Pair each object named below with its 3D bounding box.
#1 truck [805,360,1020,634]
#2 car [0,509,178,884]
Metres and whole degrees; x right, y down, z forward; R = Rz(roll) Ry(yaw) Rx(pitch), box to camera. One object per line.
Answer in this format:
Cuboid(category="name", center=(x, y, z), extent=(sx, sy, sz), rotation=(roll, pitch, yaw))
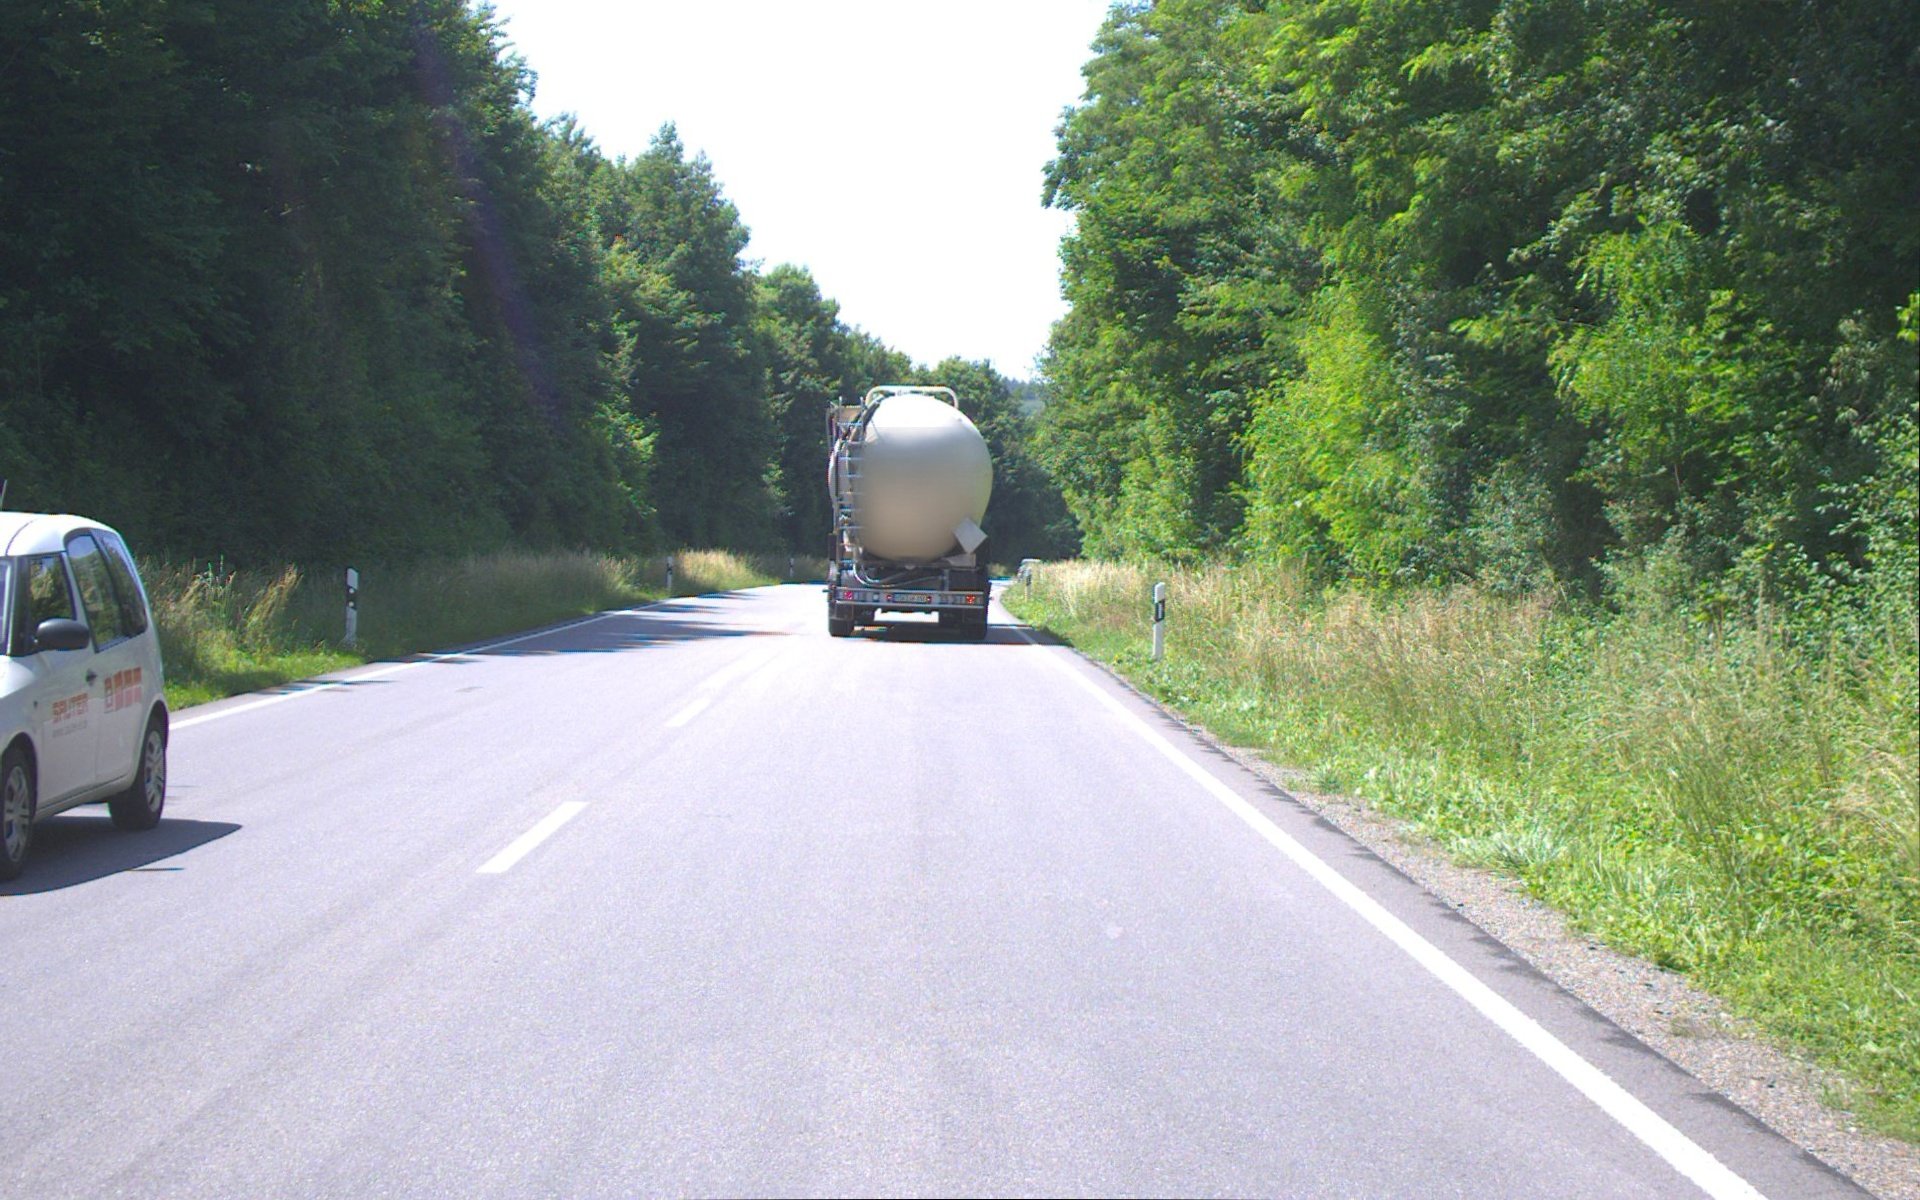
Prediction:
Cuboid(category="truck", center=(-0.843, -1.646, 59.530), extent=(3.049, 3.984, 15.637), rotation=(3, 1, -1))
Cuboid(category="car", center=(-4.827, 0.374, 16.020), extent=(1.512, 1.587, 3.793), rotation=(0, 1, 0))
